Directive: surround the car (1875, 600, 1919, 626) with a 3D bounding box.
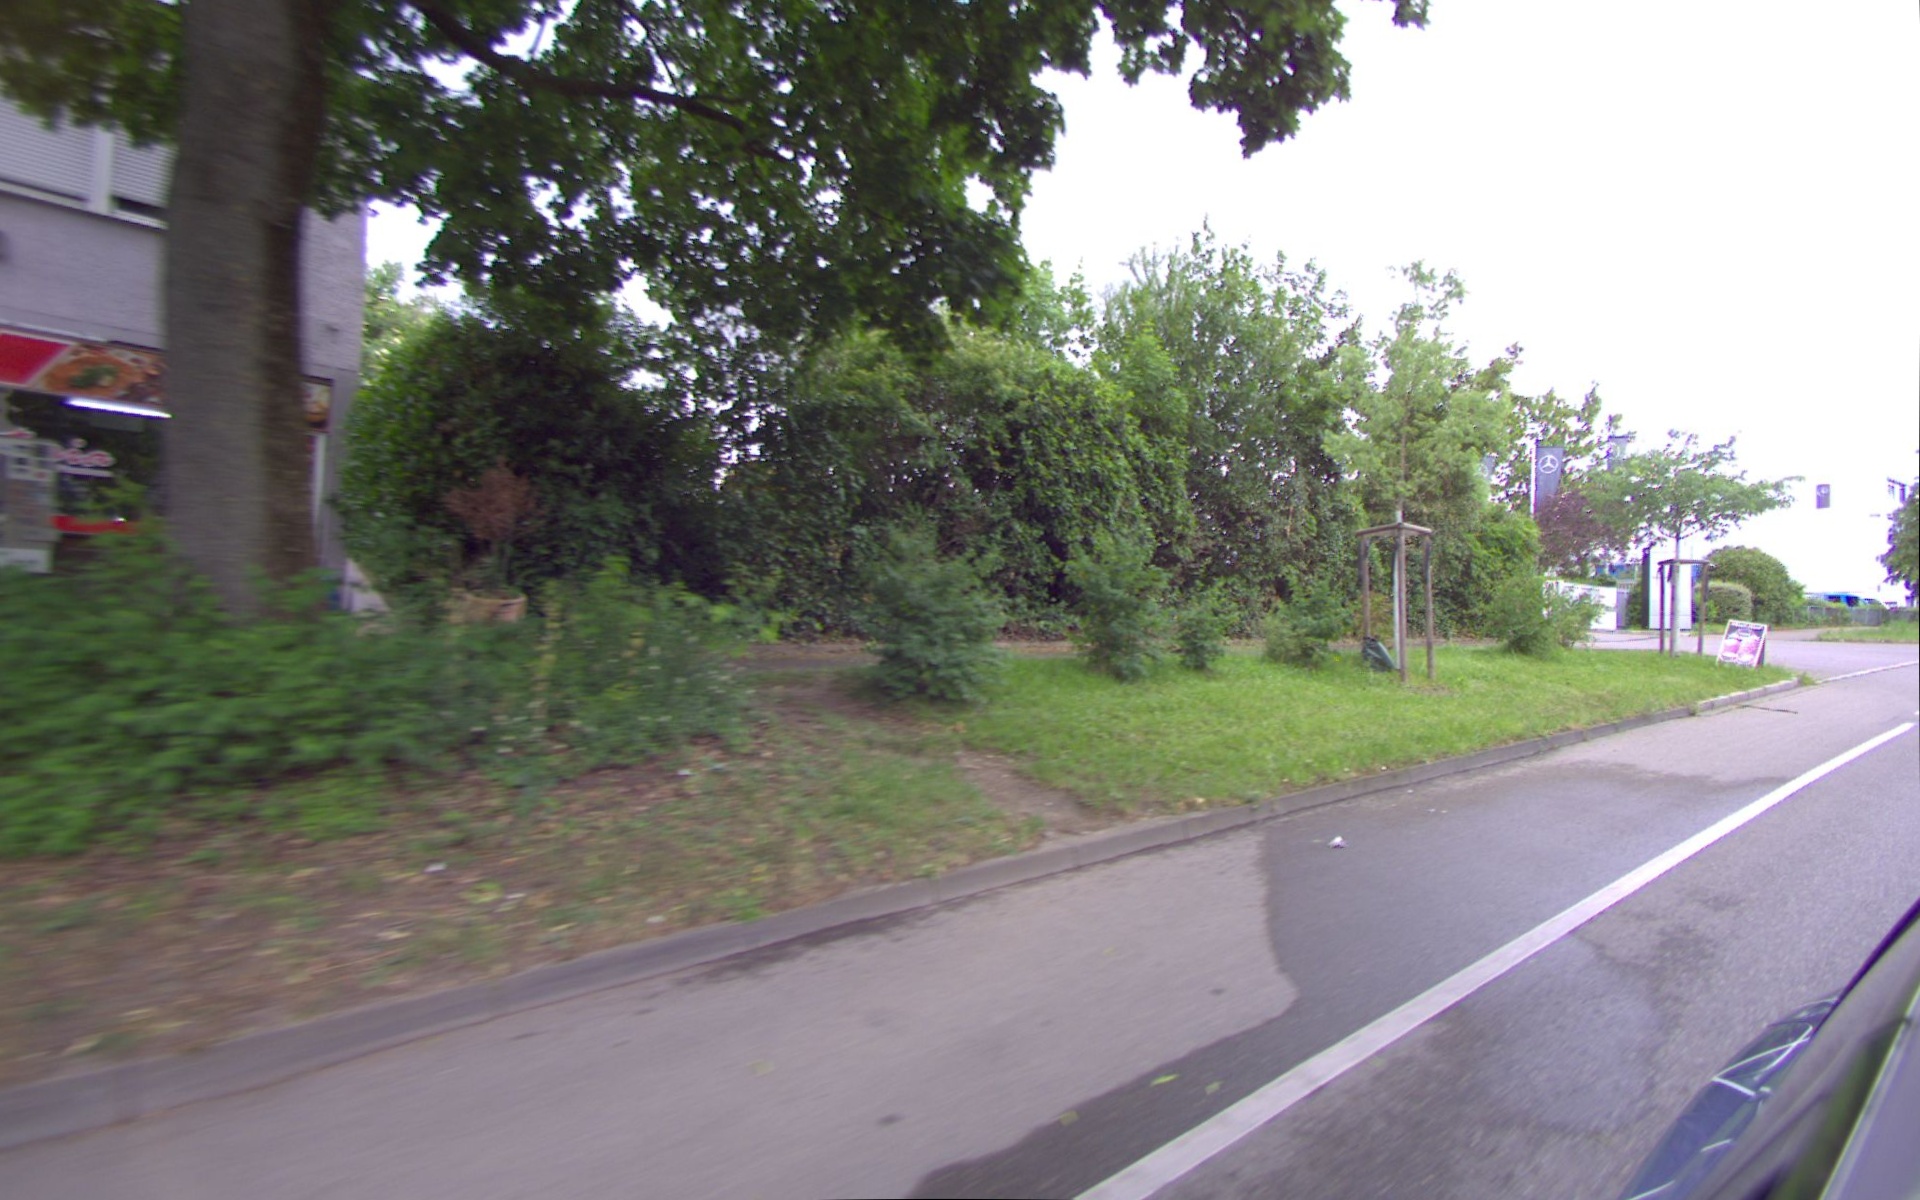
[{"bbox_3d":[77.797,1.068,82.317,4.513,2.060,2.060,0,-1,17],"label":"car"}]

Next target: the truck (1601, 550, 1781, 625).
[{"bbox_3d":[36.609,-0.644,51.065,7.132,3.521,2.589,1,0,32],"label":"truck"}]

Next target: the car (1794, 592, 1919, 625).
[{"bbox_3d":[55.744,0.512,62.882,5.787,1.982,2.046,0,-1,35],"label":"car"}]

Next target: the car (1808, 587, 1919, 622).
[{"bbox_3d":[58.537,0.318,65.565,5.220,2.216,2.048,0,-1,32],"label":"car"}]

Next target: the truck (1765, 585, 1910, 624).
[{"bbox_3d":[52.679,0.301,60.990,6.196,2.241,2.224,0,-1,29],"label":"truck"}]
